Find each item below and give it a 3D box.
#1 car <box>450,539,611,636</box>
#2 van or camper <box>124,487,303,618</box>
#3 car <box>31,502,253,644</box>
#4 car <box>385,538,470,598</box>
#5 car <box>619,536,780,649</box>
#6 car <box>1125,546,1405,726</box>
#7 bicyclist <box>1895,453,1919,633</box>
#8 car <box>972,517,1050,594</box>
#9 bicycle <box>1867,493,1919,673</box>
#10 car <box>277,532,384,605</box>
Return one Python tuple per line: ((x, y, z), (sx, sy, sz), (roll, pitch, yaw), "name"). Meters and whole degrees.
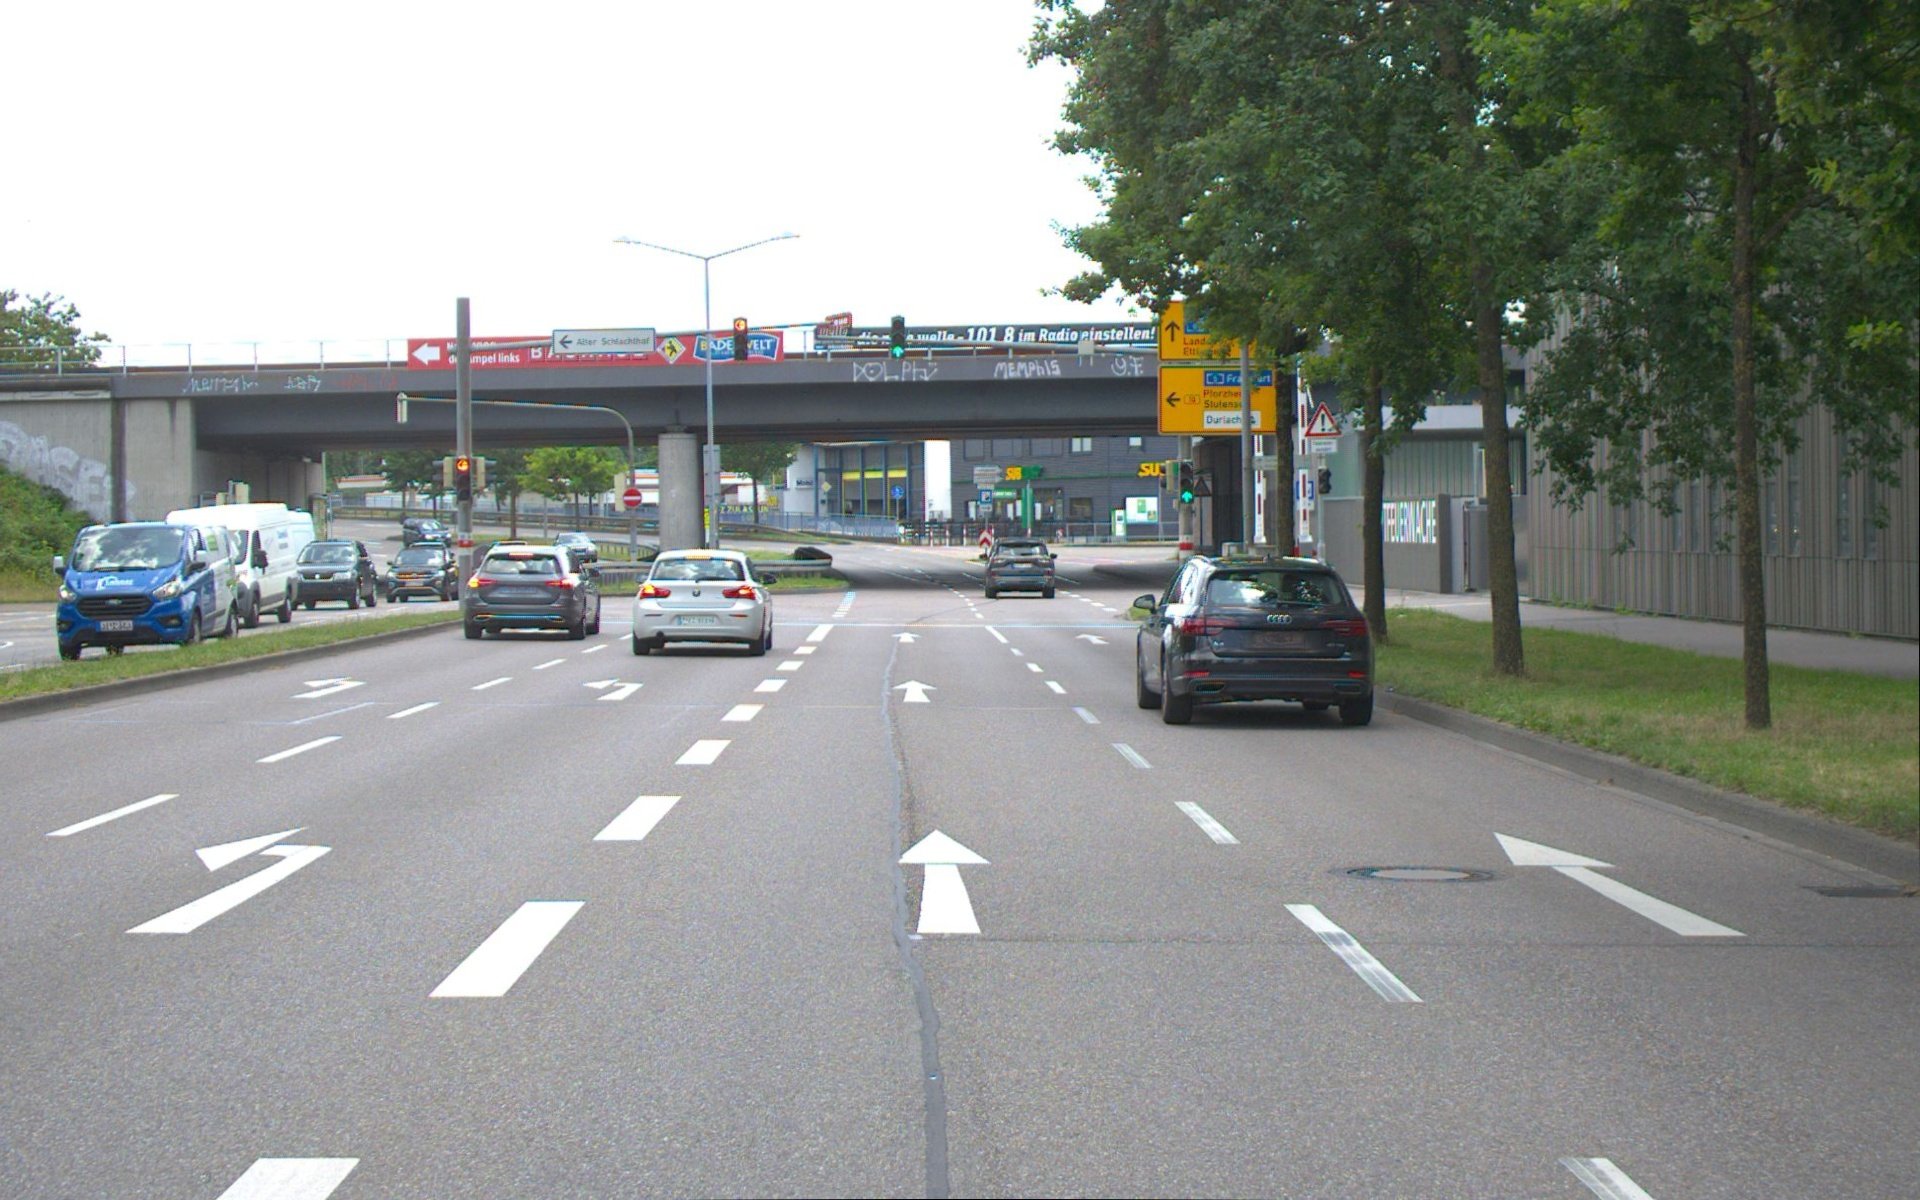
((-6.675, -0.229, 53.902), (1.993, 1.410, 4.832), (0, 1, -1), "car")
((-15.129, -0.989, 70.105), (2.351, 2.531, 7.065), (0, 1, -2), "van or camper")
((-12.076, -0.436, 51.097), (2.190, 1.957, 5.194), (-1, 1, -2), "car")
((-15.224, -0.928, 98.454), (1.806, 1.626, 4.393), (-1, 1, -1), "car")
((-3.561, -0.141, 47.639), (1.915, 1.410, 4.296), (2, 1, -1), "car")
((2.614, 0.259, 30.562), (1.993, 1.385, 4.576), (1, 2, -1), "car")
((9.755, -0.572, 33.917), (0.715, 1.763, 0.989), (-1, 1, -4), "bicyclist")
((1.371, -1.232, 94.406), (1.993, 2.030, 4.713), (-1, 1, 0), "car")
((9.759, -0.173, 33.985), (0.719, 1.768, 2.534), (-1, 1, -4), "bicycle")
((-15.774, -0.821, 86.289), (1.993, 1.760, 4.221), (-1, 1, -2), "car")
